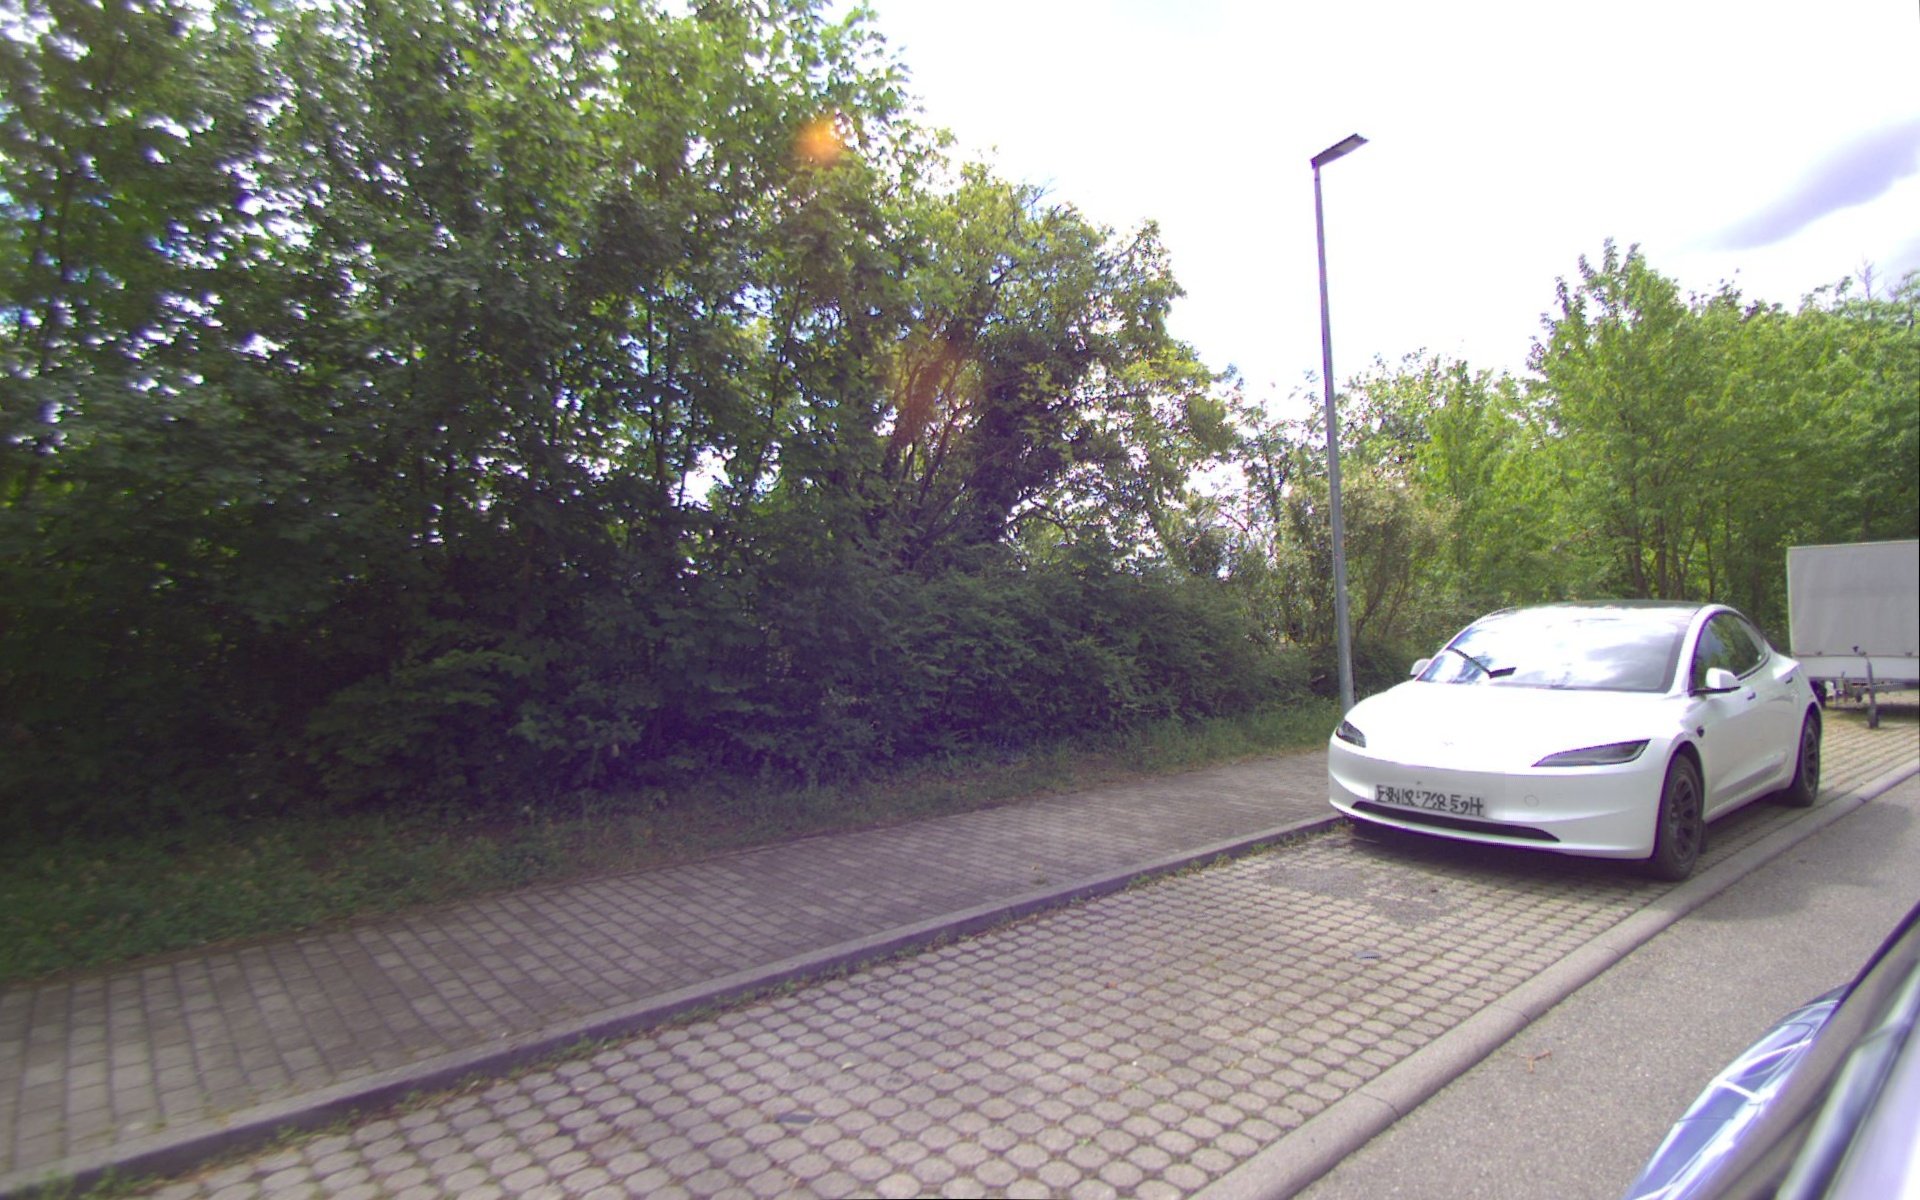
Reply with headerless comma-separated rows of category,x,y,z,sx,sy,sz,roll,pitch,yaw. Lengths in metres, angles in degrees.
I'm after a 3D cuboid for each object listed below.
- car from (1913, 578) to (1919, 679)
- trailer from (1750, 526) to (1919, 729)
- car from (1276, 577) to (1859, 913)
car,16.255,0.378,15.345,3.709,1.495,1.713,-2,1,-32
trailer,11.092,0.239,12.012,3.713,2.104,1.735,-2,0,-36
car,4.308,0.641,6.788,4.814,1.496,1.866,0,0,-40
